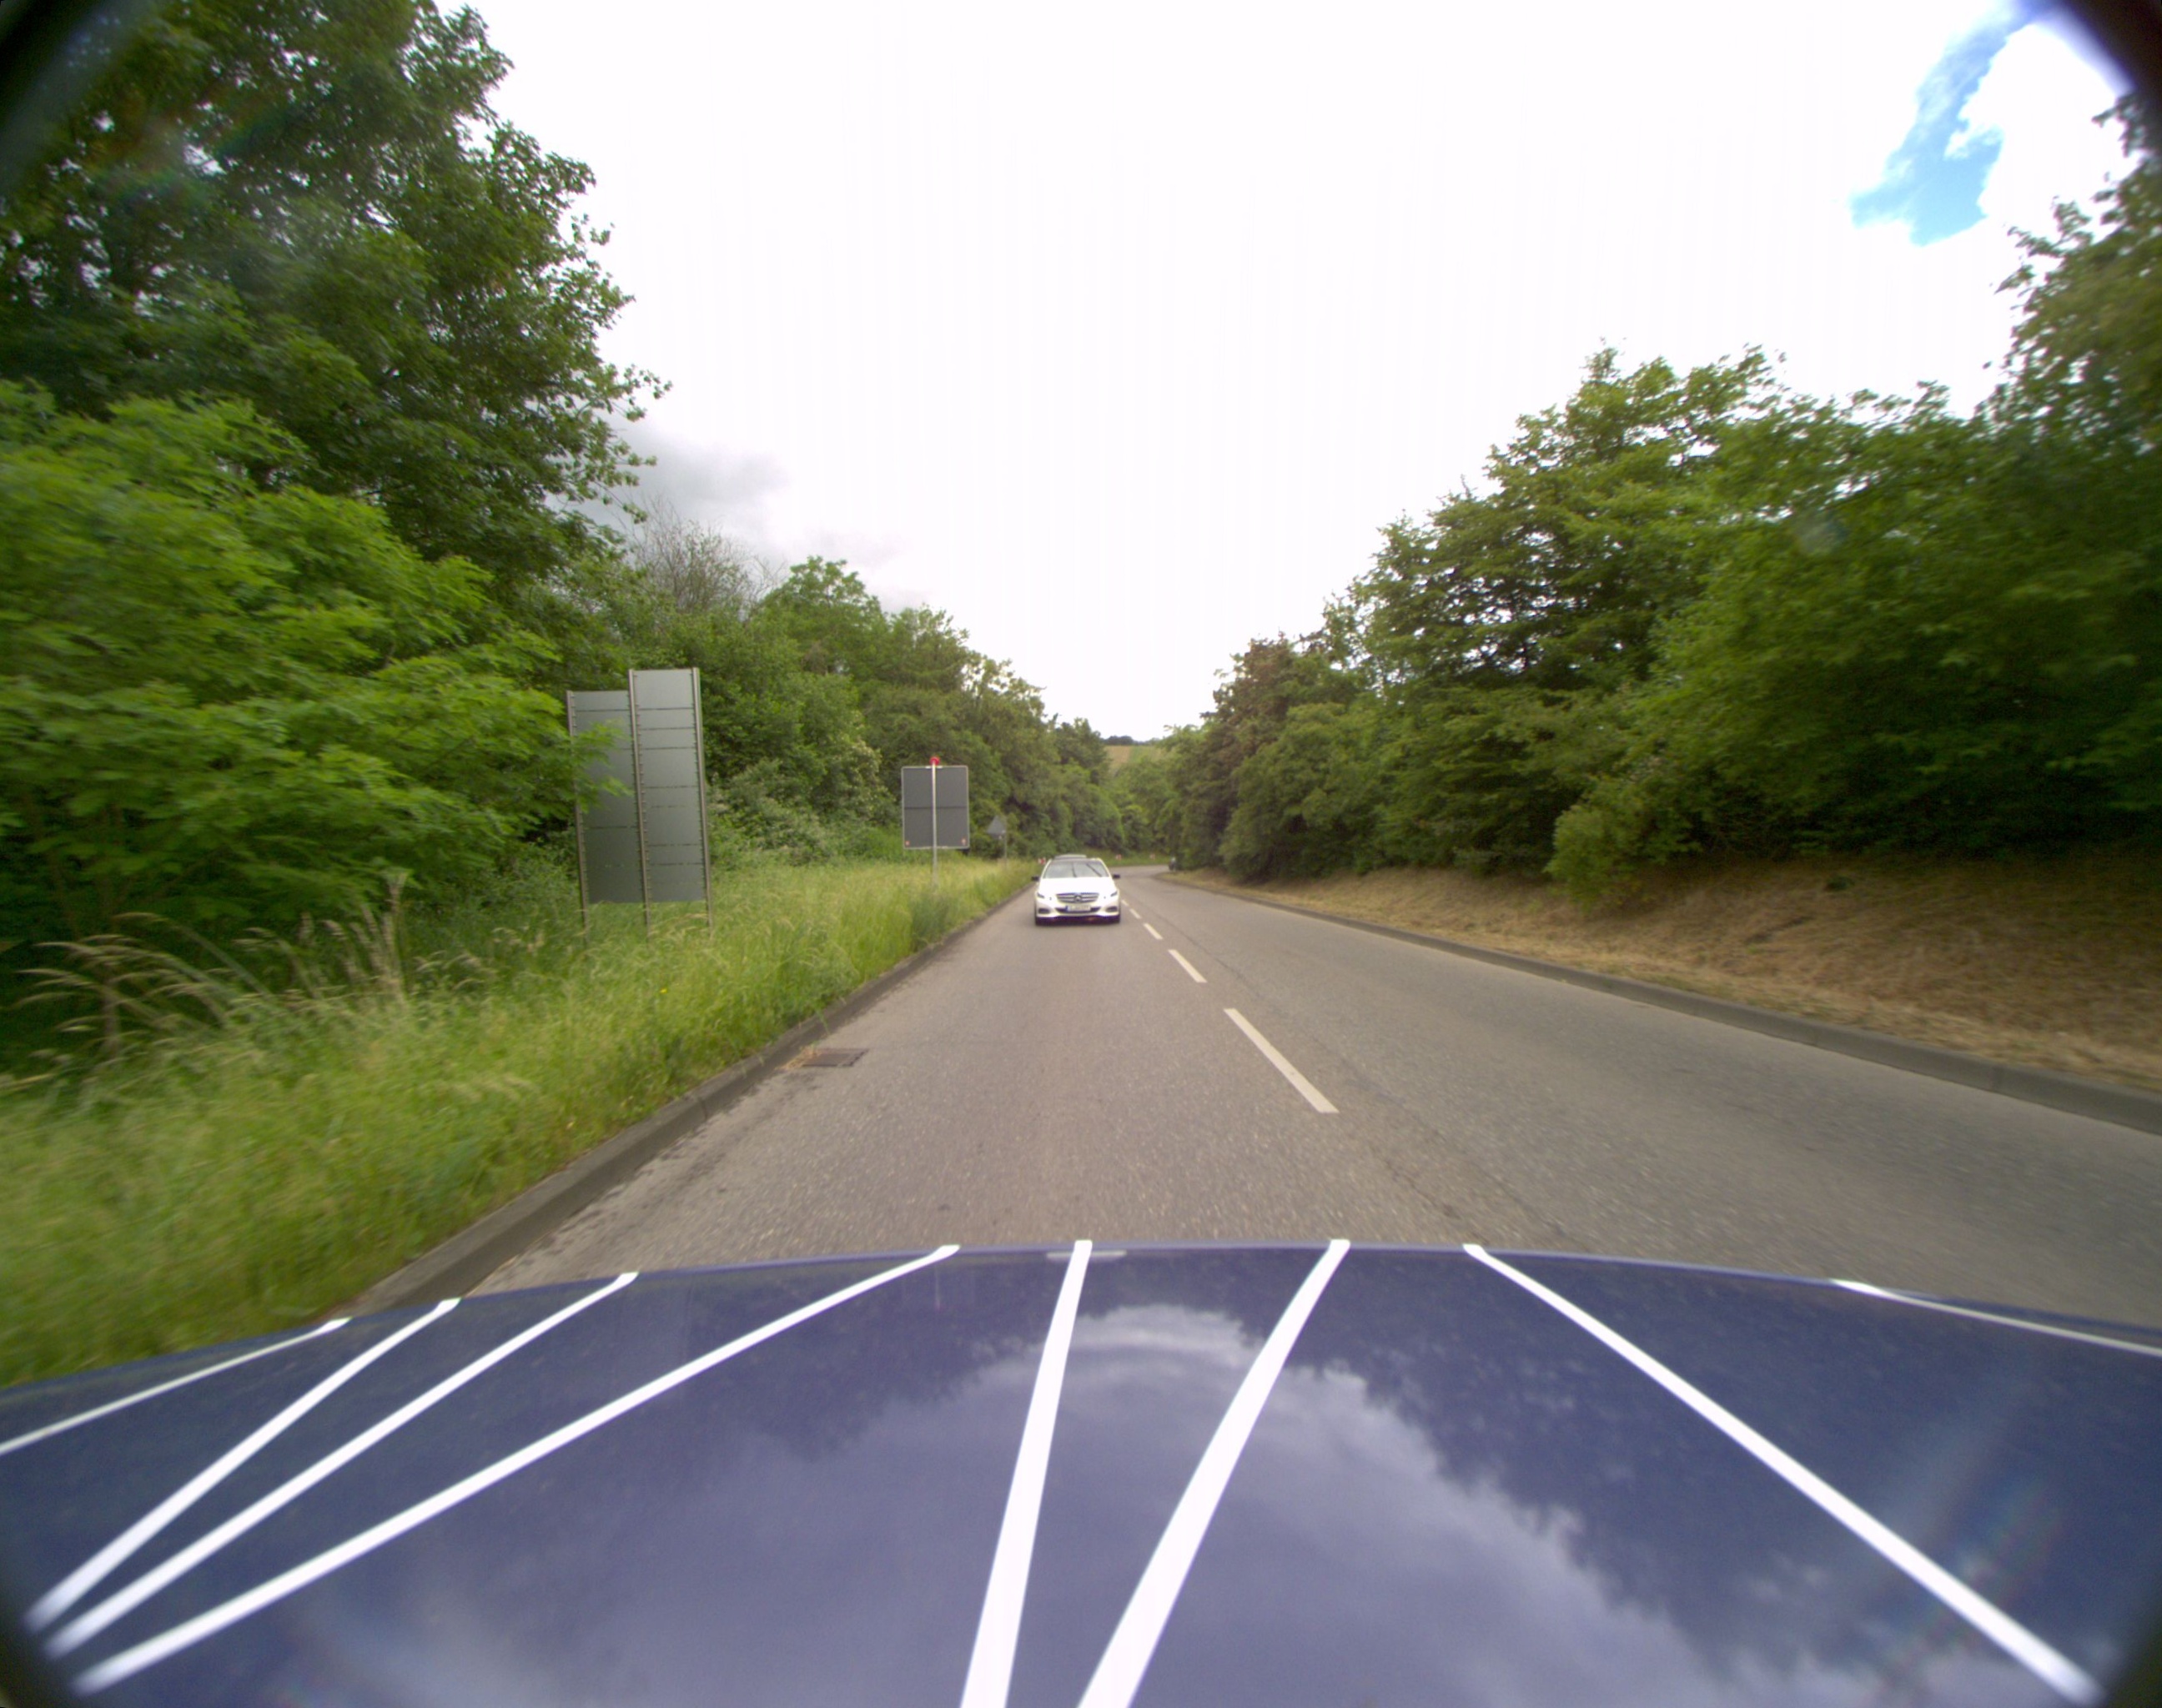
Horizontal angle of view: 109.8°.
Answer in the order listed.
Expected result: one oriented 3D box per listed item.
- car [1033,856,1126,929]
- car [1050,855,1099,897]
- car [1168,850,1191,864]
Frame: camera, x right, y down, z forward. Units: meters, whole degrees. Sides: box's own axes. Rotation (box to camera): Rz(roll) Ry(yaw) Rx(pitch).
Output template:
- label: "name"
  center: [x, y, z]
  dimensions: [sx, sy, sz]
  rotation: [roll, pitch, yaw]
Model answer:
- label: "car"
  center: [-0.093, 0.811, 17.770]
  dimensions: [1.888, 1.414, 3.999]
  rotation: [-2, 0, -2]
- label: "car"
  center: [-0.262, 0.817, 29.971]
  dimensions: [1.823, 1.535, 3.725]
  rotation: [0, 0, -1]
- label: "car"
  center: [11.111, 0.335, 85.418]
  dimensions: [1.833, 1.397, 4.436]
  rotation: [-2, 0, 16]
